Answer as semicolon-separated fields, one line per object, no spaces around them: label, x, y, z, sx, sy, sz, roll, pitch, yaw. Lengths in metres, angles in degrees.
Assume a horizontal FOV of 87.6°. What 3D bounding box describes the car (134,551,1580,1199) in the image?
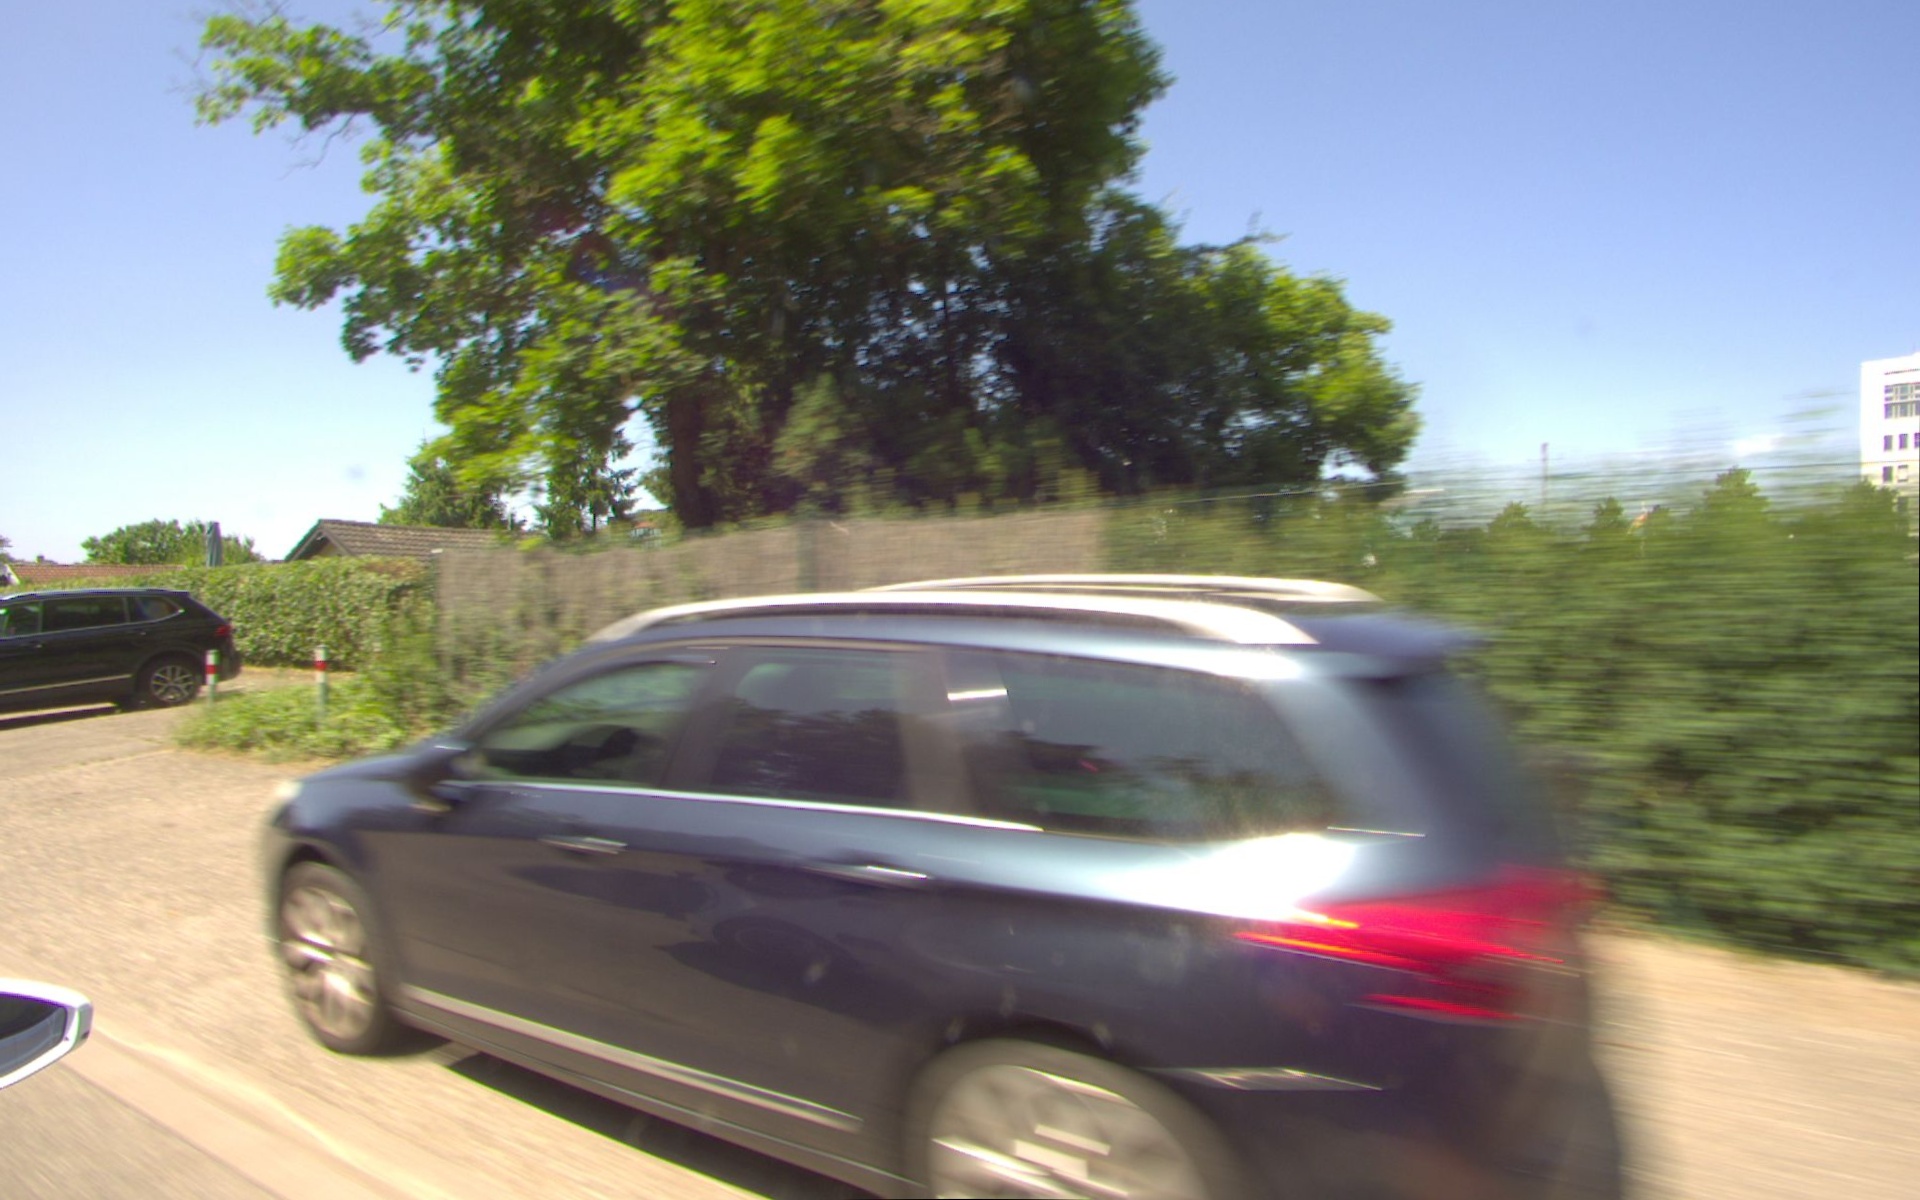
car;-0.652;0.672;3.358;4.596;1.502;1.785;0;3;31

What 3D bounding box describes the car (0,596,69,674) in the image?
car;-20.015;0.775;18.747;1.932;1.459;4.547;0;3;31

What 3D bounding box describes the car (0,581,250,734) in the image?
car;-12.058;0.721;12.762;1.886;1.728;4.458;0;3;32

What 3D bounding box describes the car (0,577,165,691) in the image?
car;-15.881;0.571;16.263;1.828;1.722;4.242;0;3;35

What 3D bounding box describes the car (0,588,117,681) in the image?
car;-17.805;0.664;17.698;1.732;1.570;4.038;0;3;32

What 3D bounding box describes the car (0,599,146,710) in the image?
car;-14.348;0.813;14.223;1.809;1.472;3.978;0;3;38
